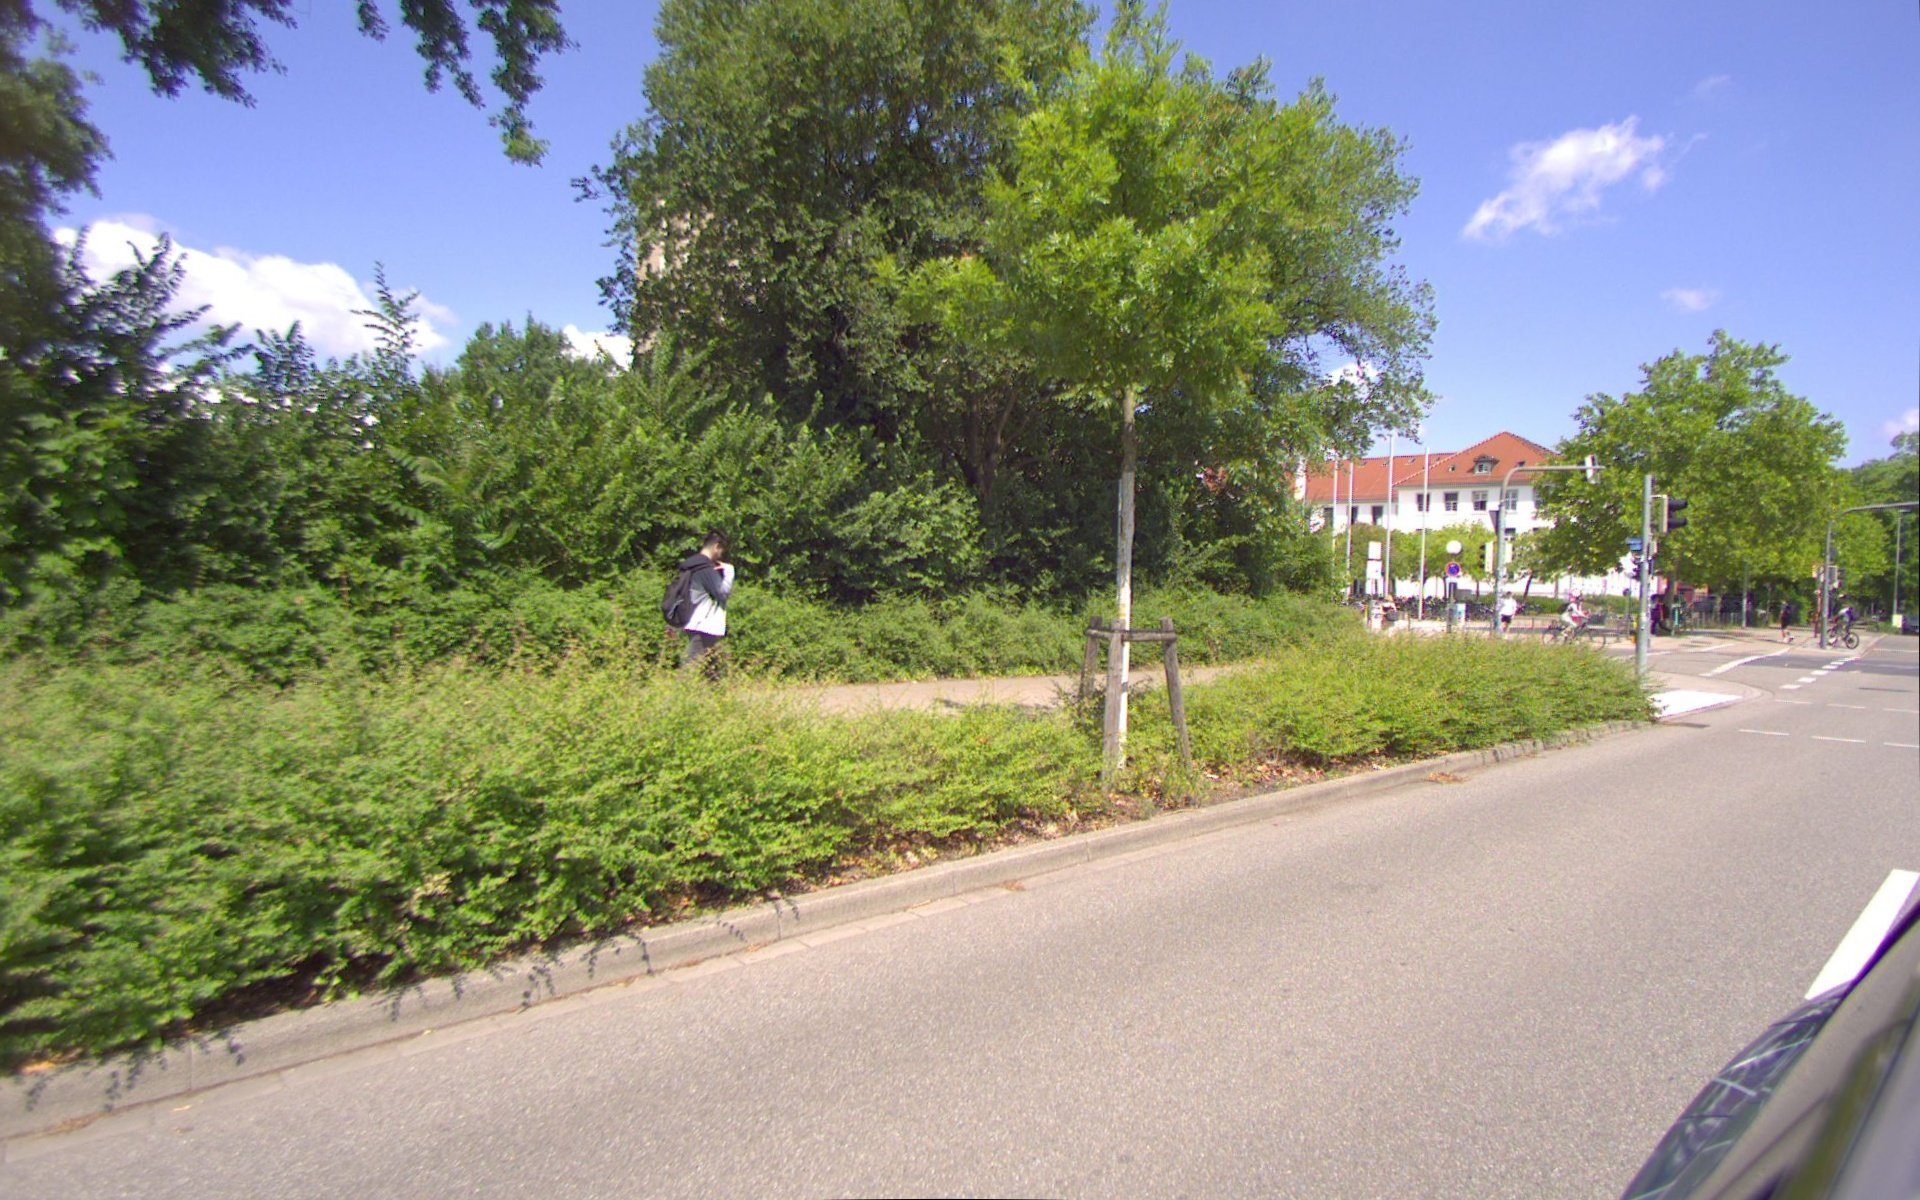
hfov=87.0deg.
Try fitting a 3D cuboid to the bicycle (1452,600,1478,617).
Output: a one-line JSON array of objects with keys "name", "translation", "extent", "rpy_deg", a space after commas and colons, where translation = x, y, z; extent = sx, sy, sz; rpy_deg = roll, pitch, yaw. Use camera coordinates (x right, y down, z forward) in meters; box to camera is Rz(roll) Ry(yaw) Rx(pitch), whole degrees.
[{"name": "bicycle", "translation": [30.293, 0.507, 60.721], "extent": [1.367, 0.963, 0.347], "rpy_deg": [2, 1, 42]}]

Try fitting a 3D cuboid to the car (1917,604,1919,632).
[{"name": "car", "translation": [63.880, 1.201, 66.104], "extent": [1.908, 1.805, 3.937], "rpy_deg": [2, 1, 43]}]

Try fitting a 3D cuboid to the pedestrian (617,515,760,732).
[{"name": "pedestrian", "translation": [-2.343, 0.178, 8.736], "extent": [0.913, 1.743, 0.815], "rpy_deg": [0, 1, -41]}]

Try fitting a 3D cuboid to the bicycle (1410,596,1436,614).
[{"name": "bicycle", "translation": [28.383, 0.309, 62.006], "extent": [1.367, 1.013, 0.347], "rpy_deg": [2, 1, 42]}]

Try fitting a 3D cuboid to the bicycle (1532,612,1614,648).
[{"name": "bicycle", "translation": [19.106, 0.933, 31.596], "extent": [2.146, 1.011, 0.640], "rpy_deg": [2, 1, 31]}]

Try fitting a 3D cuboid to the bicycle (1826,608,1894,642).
[{"name": "bicycle", "translation": [36.337, 1.006, 40.895], "extent": [0.869, 1.267, 2.164], "rpy_deg": [1, 1, 3]}]

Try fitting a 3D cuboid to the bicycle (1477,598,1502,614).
[{"name": "bicycle", "translation": [33.401, 0.369, 63.853], "extent": [1.367, 0.963, 0.347], "rpy_deg": [2, 1, 42]}]

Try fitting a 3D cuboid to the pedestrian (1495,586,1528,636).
[{"name": "pedestrian", "translation": [21.201, 0.418, 38.881], "extent": [0.876, 1.896, 0.957], "rpy_deg": [2, 1, 43]}]

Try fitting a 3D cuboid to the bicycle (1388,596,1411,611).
[{"name": "bicycle", "translation": [29.043, 0.211, 66.884], "extent": [1.365, 0.963, 0.347], "rpy_deg": [2, 1, 40]}]

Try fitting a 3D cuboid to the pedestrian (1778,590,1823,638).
[{"name": "pedestrian", "translation": [34.535, 0.567, 41.595], "extent": [0.951, 1.950, 1.034], "rpy_deg": [1, 1, -22]}]

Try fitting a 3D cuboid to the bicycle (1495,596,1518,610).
[{"name": "bicycle", "translation": [39.025, 0.209, 72.274], "extent": [1.424, 0.963, 0.347], "rpy_deg": [2, 1, 42]}]

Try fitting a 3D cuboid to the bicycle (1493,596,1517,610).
[{"name": "bicycle", "translation": [38.767, 0.215, 71.956], "extent": [1.424, 0.963, 0.347], "rpy_deg": [2, 1, 42]}]

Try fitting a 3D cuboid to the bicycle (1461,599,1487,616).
[{"name": "bicycle", "translation": [30.937, 0.440, 60.912], "extent": [1.367, 0.963, 0.347], "rpy_deg": [2, 1, 42]}]

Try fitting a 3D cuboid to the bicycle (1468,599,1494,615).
[{"name": "bicycle", "translation": [31.545, 0.416, 61.276], "extent": [1.367, 0.963, 0.347], "rpy_deg": [2, 1, 42]}]

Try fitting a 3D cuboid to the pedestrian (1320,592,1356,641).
[{"name": "pedestrian", "translation": [11.518, 0.498, 30.851], "extent": [0.642, 1.434, 0.789], "rpy_deg": [4, 0, -7]}]

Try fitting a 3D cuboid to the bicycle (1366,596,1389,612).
[{"name": "bicycle", "translation": [26.341, 0.253, 63.870], "extent": [0.346, 0.963, 1.371], "rpy_deg": [1, 1, -39]}]

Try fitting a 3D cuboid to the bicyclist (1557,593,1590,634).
[{"name": "bicyclist", "translation": [19.146, 0.410, 31.583], "extent": [0.827, 1.241, 0.612], "rpy_deg": [2, 1, 31]}]

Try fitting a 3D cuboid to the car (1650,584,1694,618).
[{"name": "car", "translation": [45.487, 0.047, 64.595], "extent": [1.990, 2.080, 4.169], "rpy_deg": [2, 1, 39]}]

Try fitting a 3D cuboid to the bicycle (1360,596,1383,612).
[{"name": "bicycle", "translation": [25.908, 0.247, 63.711], "extent": [0.346, 0.963, 1.371], "rpy_deg": [1, 1, -39]}]

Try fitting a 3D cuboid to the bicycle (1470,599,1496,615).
[{"name": "bicycle", "translation": [32.527, 0.417, 62.902], "extent": [1.367, 0.963, 0.347], "rpy_deg": [2, 1, 42]}]

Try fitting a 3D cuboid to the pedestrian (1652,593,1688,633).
[{"name": "pedestrian", "translation": [29.627, 0.512, 42.237], "extent": [1.053, 1.617, 0.963], "rpy_deg": [1, 1, 28]}]

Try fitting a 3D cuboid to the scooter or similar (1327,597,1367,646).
[{"name": "scooter or similar", "translation": [10.439, 0.558, 27.321], "extent": [0.428, 1.249, 1.232], "rpy_deg": [3, 1, -7]}]

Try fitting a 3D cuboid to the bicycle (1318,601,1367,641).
[{"name": "bicycle", "translation": [11.697, 0.633, 30.984], "extent": [0.658, 1.157, 1.665], "rpy_deg": [3, 0, -6]}]

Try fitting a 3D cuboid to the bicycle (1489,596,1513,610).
[{"name": "bicycle", "translation": [38.249, 0.218, 71.549], "extent": [1.424, 0.963, 0.347], "rpy_deg": [2, 1, 42]}]

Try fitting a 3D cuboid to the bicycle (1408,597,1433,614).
[{"name": "bicycle", "translation": [28.041, 0.322, 61.641], "extent": [1.367, 1.013, 0.347], "rpy_deg": [2, 1, 42]}]

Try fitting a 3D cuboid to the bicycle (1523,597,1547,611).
[{"name": "bicycle", "translation": [39.930, 0.283, 70.307], "extent": [1.424, 0.963, 0.347], "rpy_deg": [2, 1, 42]}]

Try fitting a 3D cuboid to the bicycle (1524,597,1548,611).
[{"name": "bicycle", "translation": [40.241, 0.276, 70.712], "extent": [1.424, 0.963, 0.347], "rpy_deg": [2, 1, 42]}]

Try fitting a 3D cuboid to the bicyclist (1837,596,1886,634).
[{"name": "bicyclist", "translation": [36.344, 0.587, 40.812], "extent": [0.954, 1.462, 1.076], "rpy_deg": [1, 1, 2]}]

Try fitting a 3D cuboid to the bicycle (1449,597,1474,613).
[{"name": "bicycle", "translation": [32.274, 0.314, 65.105], "extent": [1.407, 0.963, 0.347], "rpy_deg": [2, 1, 42]}]

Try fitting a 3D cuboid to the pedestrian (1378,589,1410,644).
[{"name": "pedestrian", "translation": [13.262, 0.501, 30.953], "extent": [0.632, 1.646, 0.636], "rpy_deg": [1, 1, -7]}]

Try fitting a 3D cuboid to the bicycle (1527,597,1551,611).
[{"name": "bicycle", "translation": [40.657, 0.271, 71.101], "extent": [1.424, 0.963, 0.347], "rpy_deg": [2, 1, 42]}]

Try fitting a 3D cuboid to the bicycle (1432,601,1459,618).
[{"name": "bicycle", "translation": [28.545, 0.564, 59.543], "extent": [1.367, 0.963, 0.347], "rpy_deg": [2, 1, 42]}]

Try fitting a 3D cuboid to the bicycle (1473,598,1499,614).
[{"name": "bicycle", "translation": [32.946, 0.390, 63.391], "extent": [1.367, 0.963, 0.347], "rpy_deg": [2, 1, 42]}]

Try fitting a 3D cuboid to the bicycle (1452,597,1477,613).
[{"name": "bicycle", "translation": [32.645, 0.308, 65.485], "extent": [1.407, 0.963, 0.347], "rpy_deg": [2, 1, 42]}]

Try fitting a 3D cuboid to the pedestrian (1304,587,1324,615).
[{"name": "pedestrian", "translation": [21.048, 0.034, 60.182], "extent": [0.670, 1.642, 0.837], "rpy_deg": [1, 1, -19]}]
